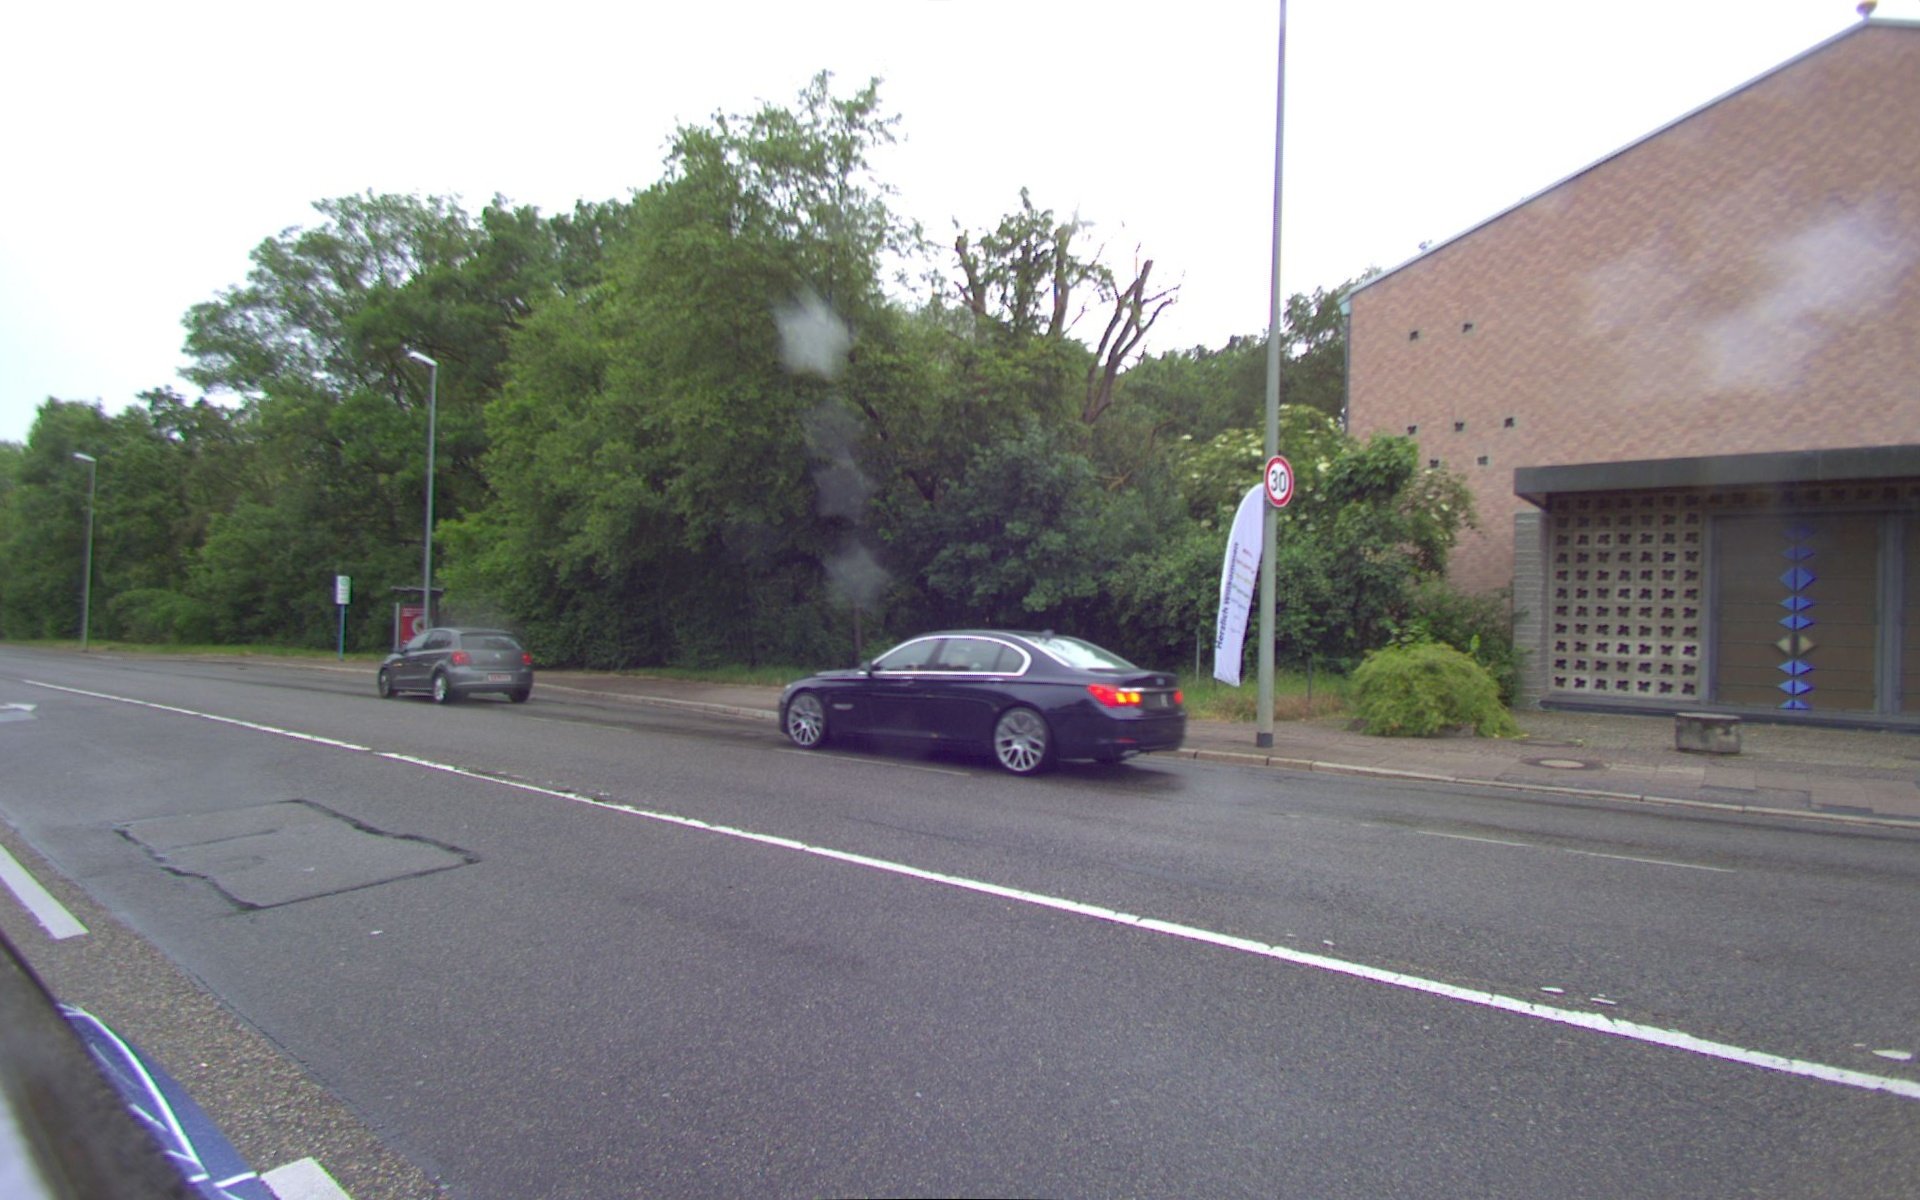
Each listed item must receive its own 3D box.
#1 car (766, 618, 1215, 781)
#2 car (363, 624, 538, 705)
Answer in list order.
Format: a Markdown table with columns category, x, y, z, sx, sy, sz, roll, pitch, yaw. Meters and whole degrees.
| category | x | y | z | sx | sy | sz | roll | pitch | yaw |
| --- | --- | --- | --- | --- | --- | --- | --- | --- | --- |
| car | 0.174 | 1.013 | 11.489 | 4.944 | 1.465 | 1.891 | -1 | -5 | 40 |
| car | -10.027 | 1.214 | 19.831 | 3.901 | 1.440 | 1.578 | -1 | -3 | 39 |
